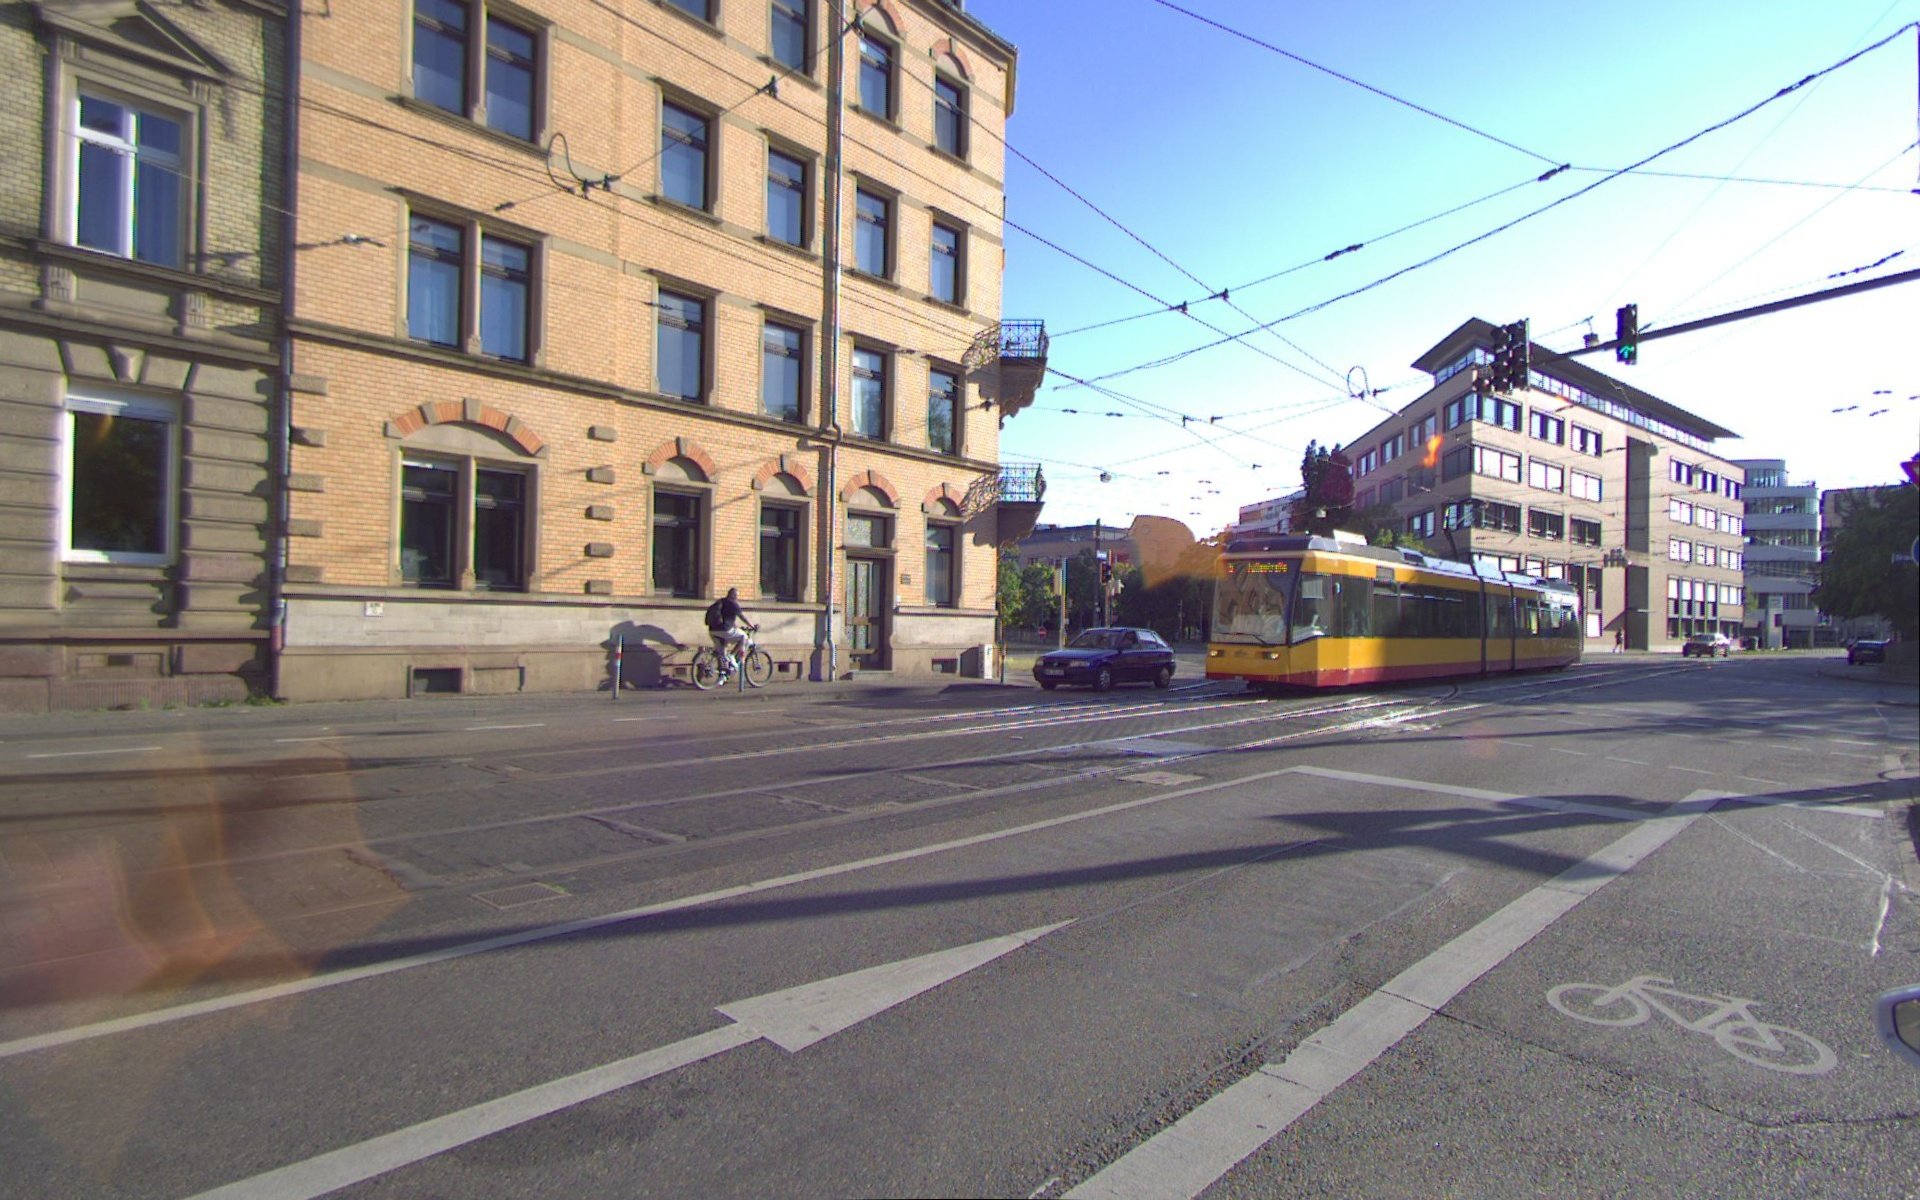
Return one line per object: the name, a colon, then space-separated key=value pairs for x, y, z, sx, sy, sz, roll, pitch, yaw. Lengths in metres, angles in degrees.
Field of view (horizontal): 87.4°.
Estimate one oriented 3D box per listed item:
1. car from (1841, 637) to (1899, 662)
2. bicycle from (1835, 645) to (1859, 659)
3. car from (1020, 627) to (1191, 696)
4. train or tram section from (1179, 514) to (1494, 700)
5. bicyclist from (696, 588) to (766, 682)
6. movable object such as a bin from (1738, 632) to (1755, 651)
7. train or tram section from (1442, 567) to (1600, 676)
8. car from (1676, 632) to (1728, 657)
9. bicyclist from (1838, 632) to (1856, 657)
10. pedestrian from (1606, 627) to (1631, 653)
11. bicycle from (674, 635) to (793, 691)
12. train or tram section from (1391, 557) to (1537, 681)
car: x=53.617 y=2.924 z=59.168 sx=3.961 sy=1.406 sz=1.773 roll=2 pitch=-2 yaw=-35
bicycle: x=55.812 y=3.274 z=63.201 sx=2.007 sy=0.888 sz=0.690 roll=2 pitch=-2 yaw=-36
car: x=3.369 y=1.336 z=22.691 sx=1.789 sy=1.398 sz=4.139 roll=0 pitch=-2 yaw=43
train or tram section: x=9.959 y=0.332 z=24.917 sx=2.829 sy=3.554 sz=12.946 roll=0 pitch=-2 yaw=42
bicyclist: x=-4.102 y=0.622 z=18.030 sx=0.628 sy=1.634 sz=1.030 roll=0 pitch=-2 yaw=44
movable object such as a bin: x=71.747 y=3.792 z=91.603 sx=0.881 sy=1.650 sz=1.057 roll=2 pitch=-1 yaw=-39
train or tram section: x=21.440 y=0.891 z=37.937 sx=2.829 sy=3.554 sz=11.237 roll=0 pitch=-2 yaw=42
car: x=52.292 y=3.136 z=70.764 sx=4.425 sy=1.636 sz=1.802 roll=2 pitch=-2 yaw=-38
bicyclist: x=55.851 y=2.823 z=63.234 sx=0.806 sy=1.542 sz=0.669 roll=2 pitch=-1 yaw=-36
pedestrian: x=51.675 y=3.141 z=78.807 sx=1.540 sy=2.040 sz=1.231 roll=2 pitch=-1 yaw=-37
bicycle: x=-4.050 y=1.113 z=18.082 sx=0.640 sy=0.952 sz=2.075 roll=0 pitch=-2 yaw=44
train or tram section: x=16.014 y=0.624 z=31.764 sx=2.829 sy=3.554 sz=5.275 roll=0 pitch=-2 yaw=42
